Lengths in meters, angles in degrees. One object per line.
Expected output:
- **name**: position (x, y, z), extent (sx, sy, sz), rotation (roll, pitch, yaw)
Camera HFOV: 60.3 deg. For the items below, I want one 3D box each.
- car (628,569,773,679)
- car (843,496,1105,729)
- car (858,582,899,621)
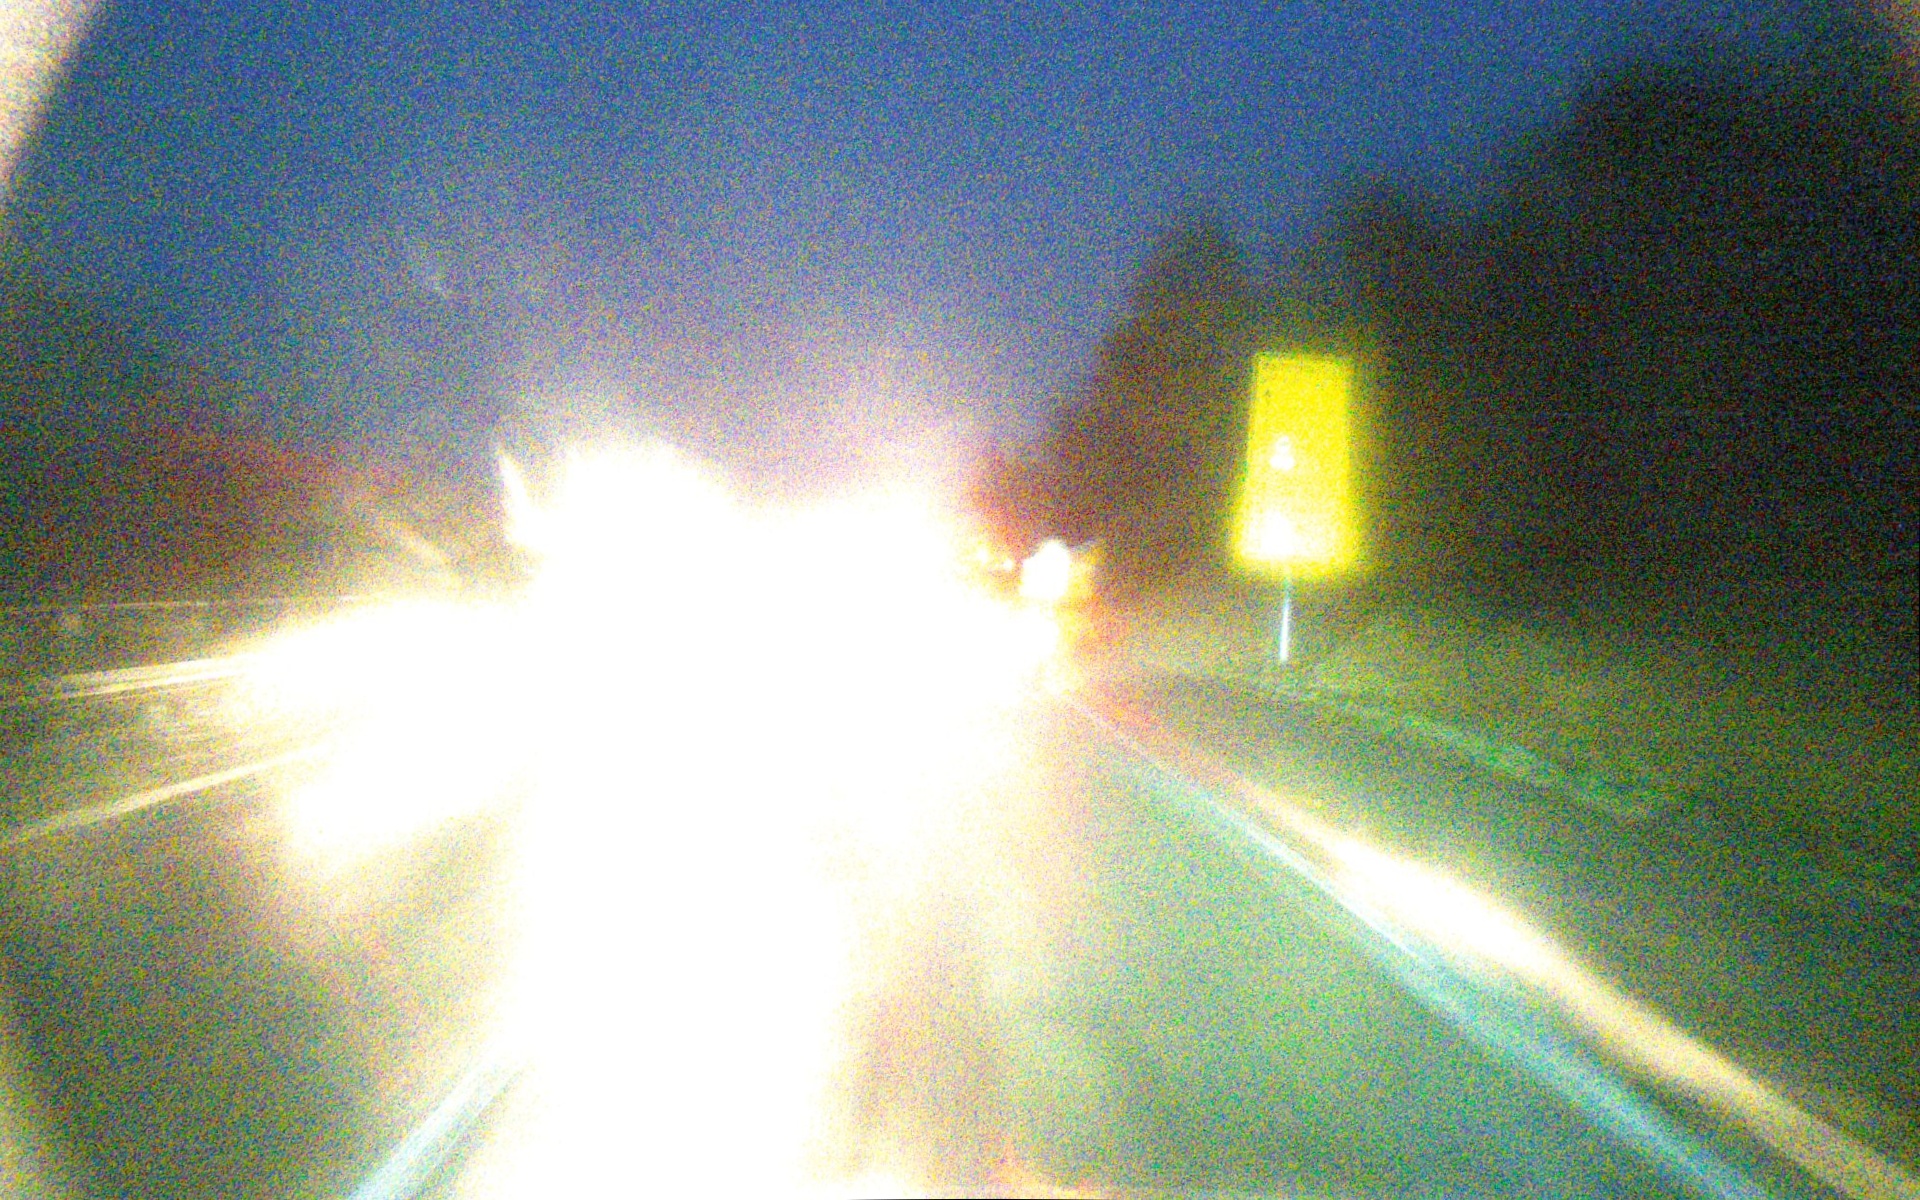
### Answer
- **car**: position (-4.158, 0.321, 27.116), extent (1.825, 1.571, 4.228), rotation (2, 2, -2)
- **car**: position (0.049, 0.092, 20.117), extent (2.661, 2.348, 6.098), rotation (1, 1, -2)
- **car**: position (-4.243, 0.080, 86.789), extent (1.953, 1.948, 3.999), rotation (2, 0, -2)
